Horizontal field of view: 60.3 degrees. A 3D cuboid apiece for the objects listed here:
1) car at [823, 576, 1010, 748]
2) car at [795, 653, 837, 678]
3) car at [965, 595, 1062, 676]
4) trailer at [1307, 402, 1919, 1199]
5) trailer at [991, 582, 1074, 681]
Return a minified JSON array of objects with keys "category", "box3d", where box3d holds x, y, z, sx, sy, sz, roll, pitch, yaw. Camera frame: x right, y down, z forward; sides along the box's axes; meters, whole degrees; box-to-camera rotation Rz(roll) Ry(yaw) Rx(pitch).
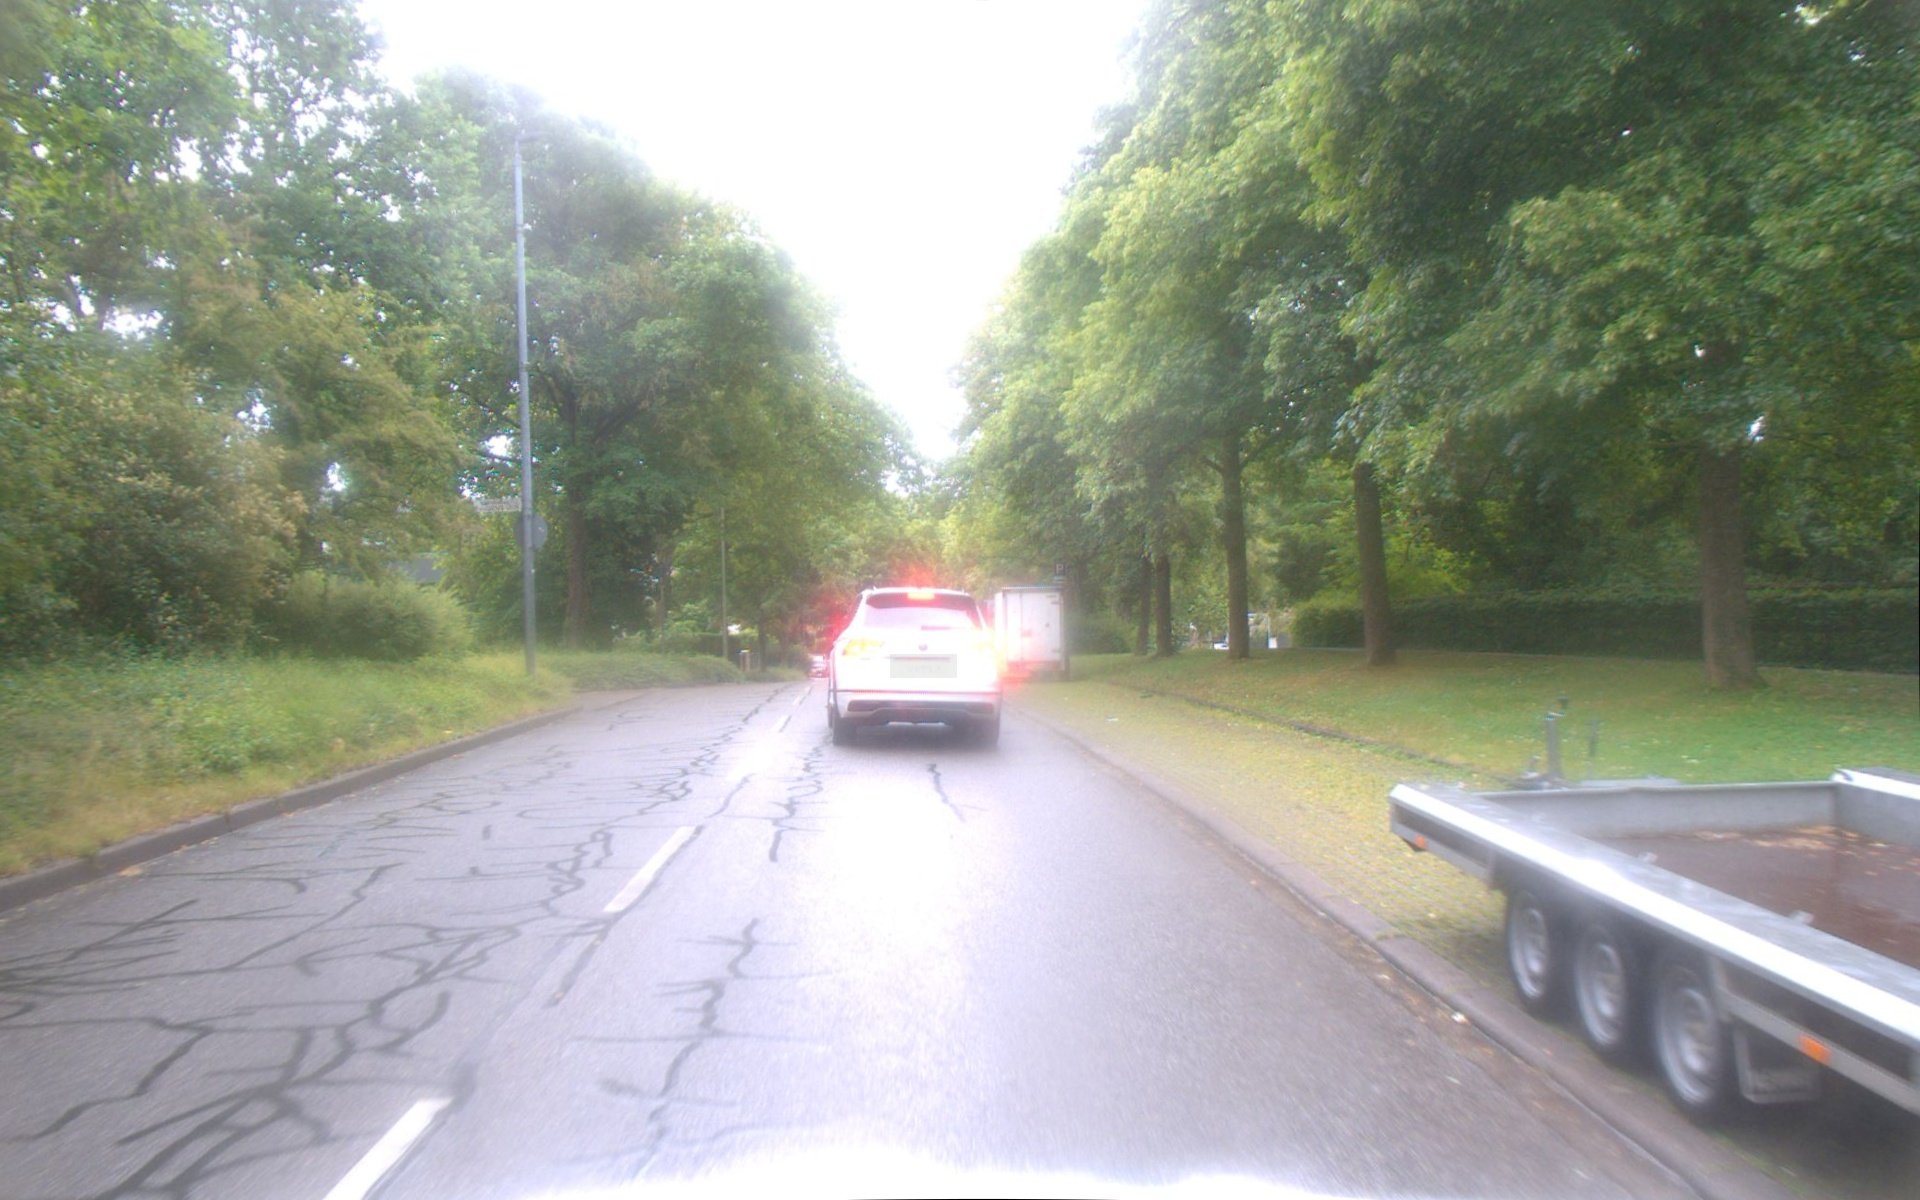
[{"category":"car","box3d":[-0.465,0.644,18.847,1.866,1.715,4.200,1,0,-1]},{"category":"car","box3d":[-9.594,4.365,110.512,1.951,1.627,4.012,-1,-3,8]},{"category":"car","box3d":[1.305,0.955,42.798,1.954,1.943,5.503,0,-2,-4]},{"category":"trailer","box3d":[3.229,0.485,6.257,2.400,1.844,5.889,-1,0,-2]},{"category":"trailer","box3d":[1.608,0.737,38.027,1.499,2.112,3.997,-2,-1,-3]}]
